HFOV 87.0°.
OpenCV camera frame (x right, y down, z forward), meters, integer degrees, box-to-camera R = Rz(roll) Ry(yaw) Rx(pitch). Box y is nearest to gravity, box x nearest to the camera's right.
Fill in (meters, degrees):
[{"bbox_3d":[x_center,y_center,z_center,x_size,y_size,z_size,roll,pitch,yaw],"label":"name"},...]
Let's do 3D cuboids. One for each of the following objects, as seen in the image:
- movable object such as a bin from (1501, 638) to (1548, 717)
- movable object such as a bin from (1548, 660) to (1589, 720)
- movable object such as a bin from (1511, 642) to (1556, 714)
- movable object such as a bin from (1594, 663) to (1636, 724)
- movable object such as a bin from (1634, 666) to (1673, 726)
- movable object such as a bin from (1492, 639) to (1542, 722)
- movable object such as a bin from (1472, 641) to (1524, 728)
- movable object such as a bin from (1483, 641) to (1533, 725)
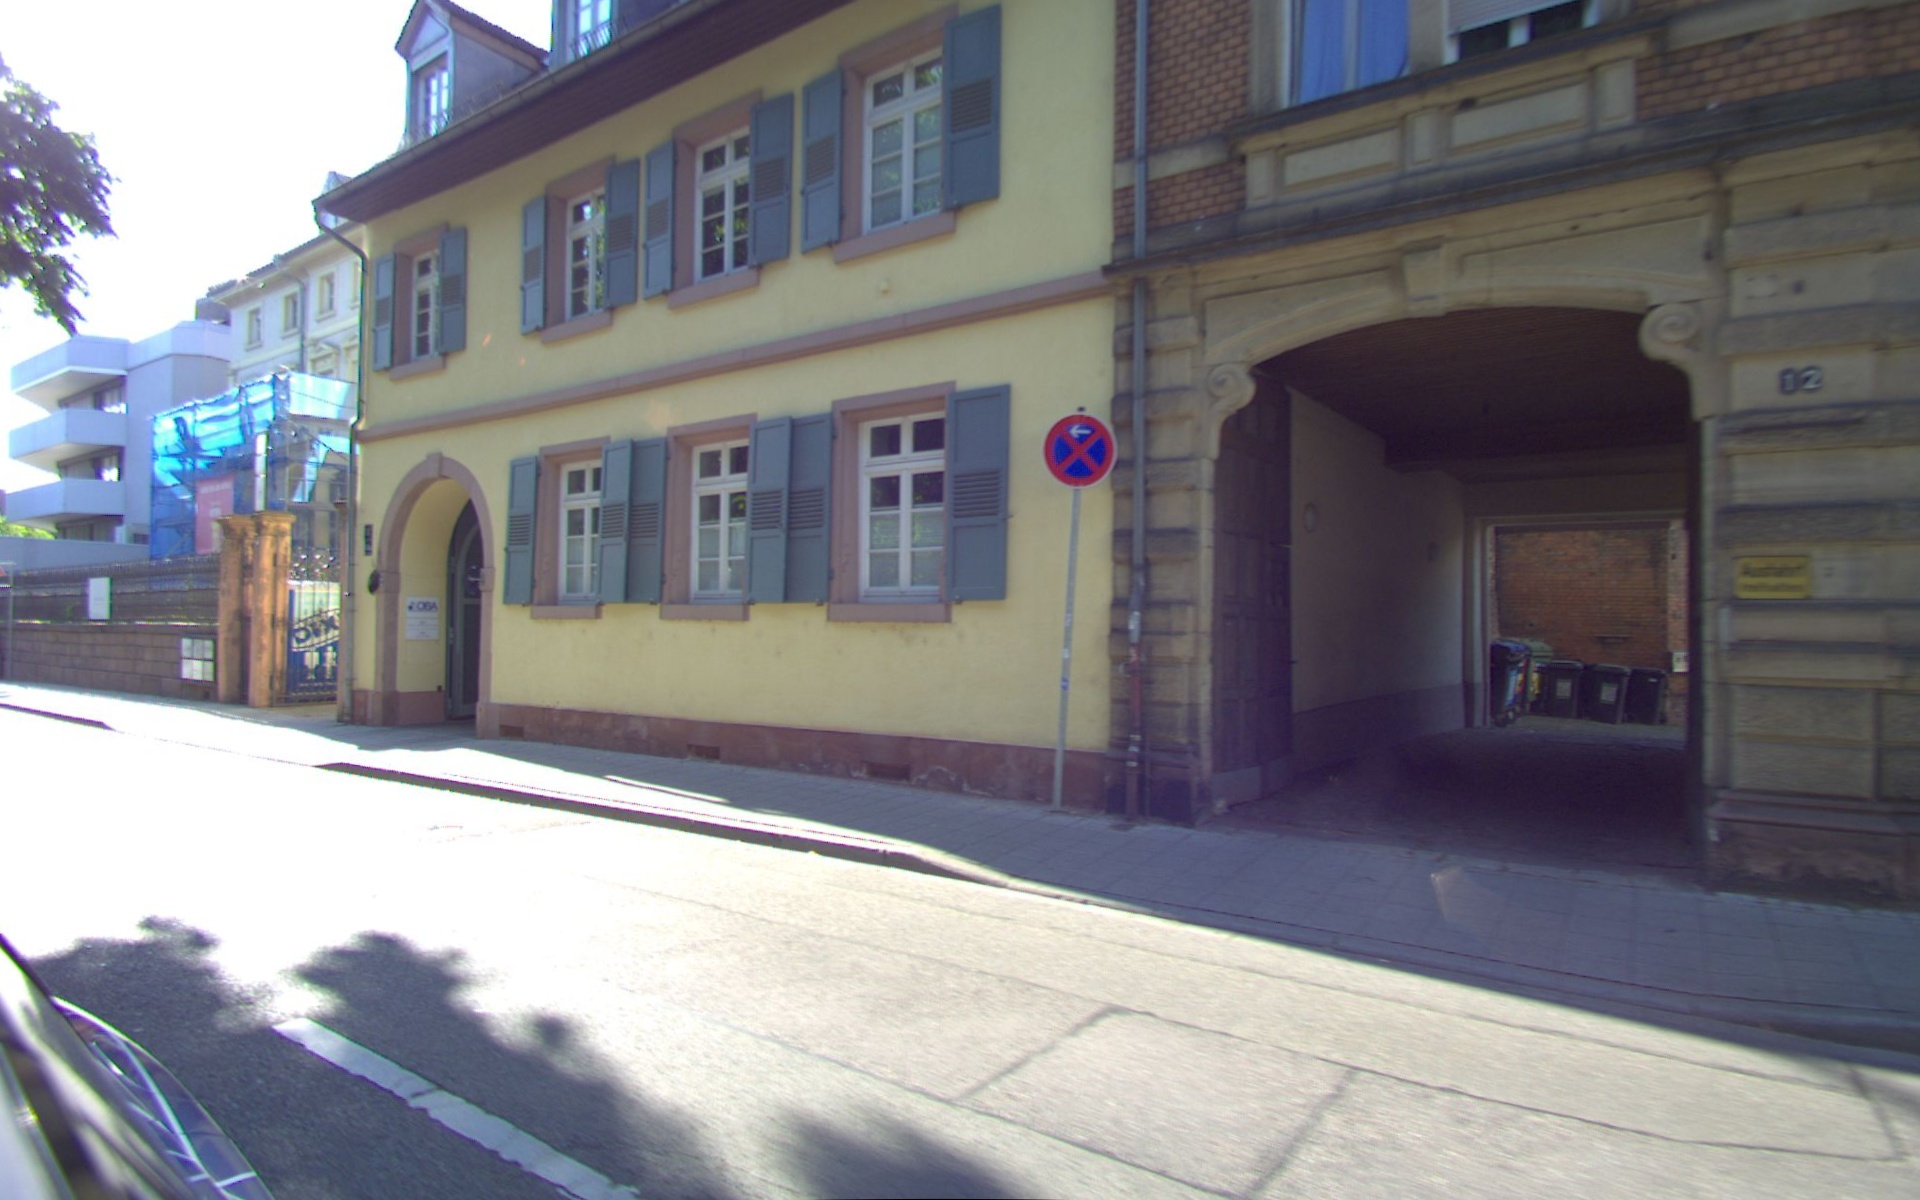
[{"bbox_3d":[10.743,1.461,19.260,0.677,1.434,0.821,0,-1,37],"label":"movable object such as a bin"},{"bbox_3d":[11.475,1.690,19.087,0.600,1.054,0.669,0,-1,37],"label":"movable object such as a bin"},{"bbox_3d":[11.324,1.520,19.975,0.677,1.351,0.821,0,-1,37],"label":"movable object such as a bin"},{"bbox_3d":[12.059,1.709,18.617,0.600,1.054,0.669,0,-1,37],"label":"movable object such as a bin"},{"bbox_3d":[13.033,1.790,19.025,0.600,1.054,0.670,0,-1,35],"label":"movable object such as a bin"},{"bbox_3d":[10.222,1.456,18.567,0.677,1.434,0.821,0,-1,37],"label":"movable object such as a bin"},{"bbox_3d":[9.173,1.424,17.248,0.677,1.408,0.725,0,-1,37],"label":"movable object such as a bin"},{"bbox_3d":[9.676,1.440,17.856,0.677,1.408,0.725,0,-1,37],"label":"movable object such as a bin"}]
